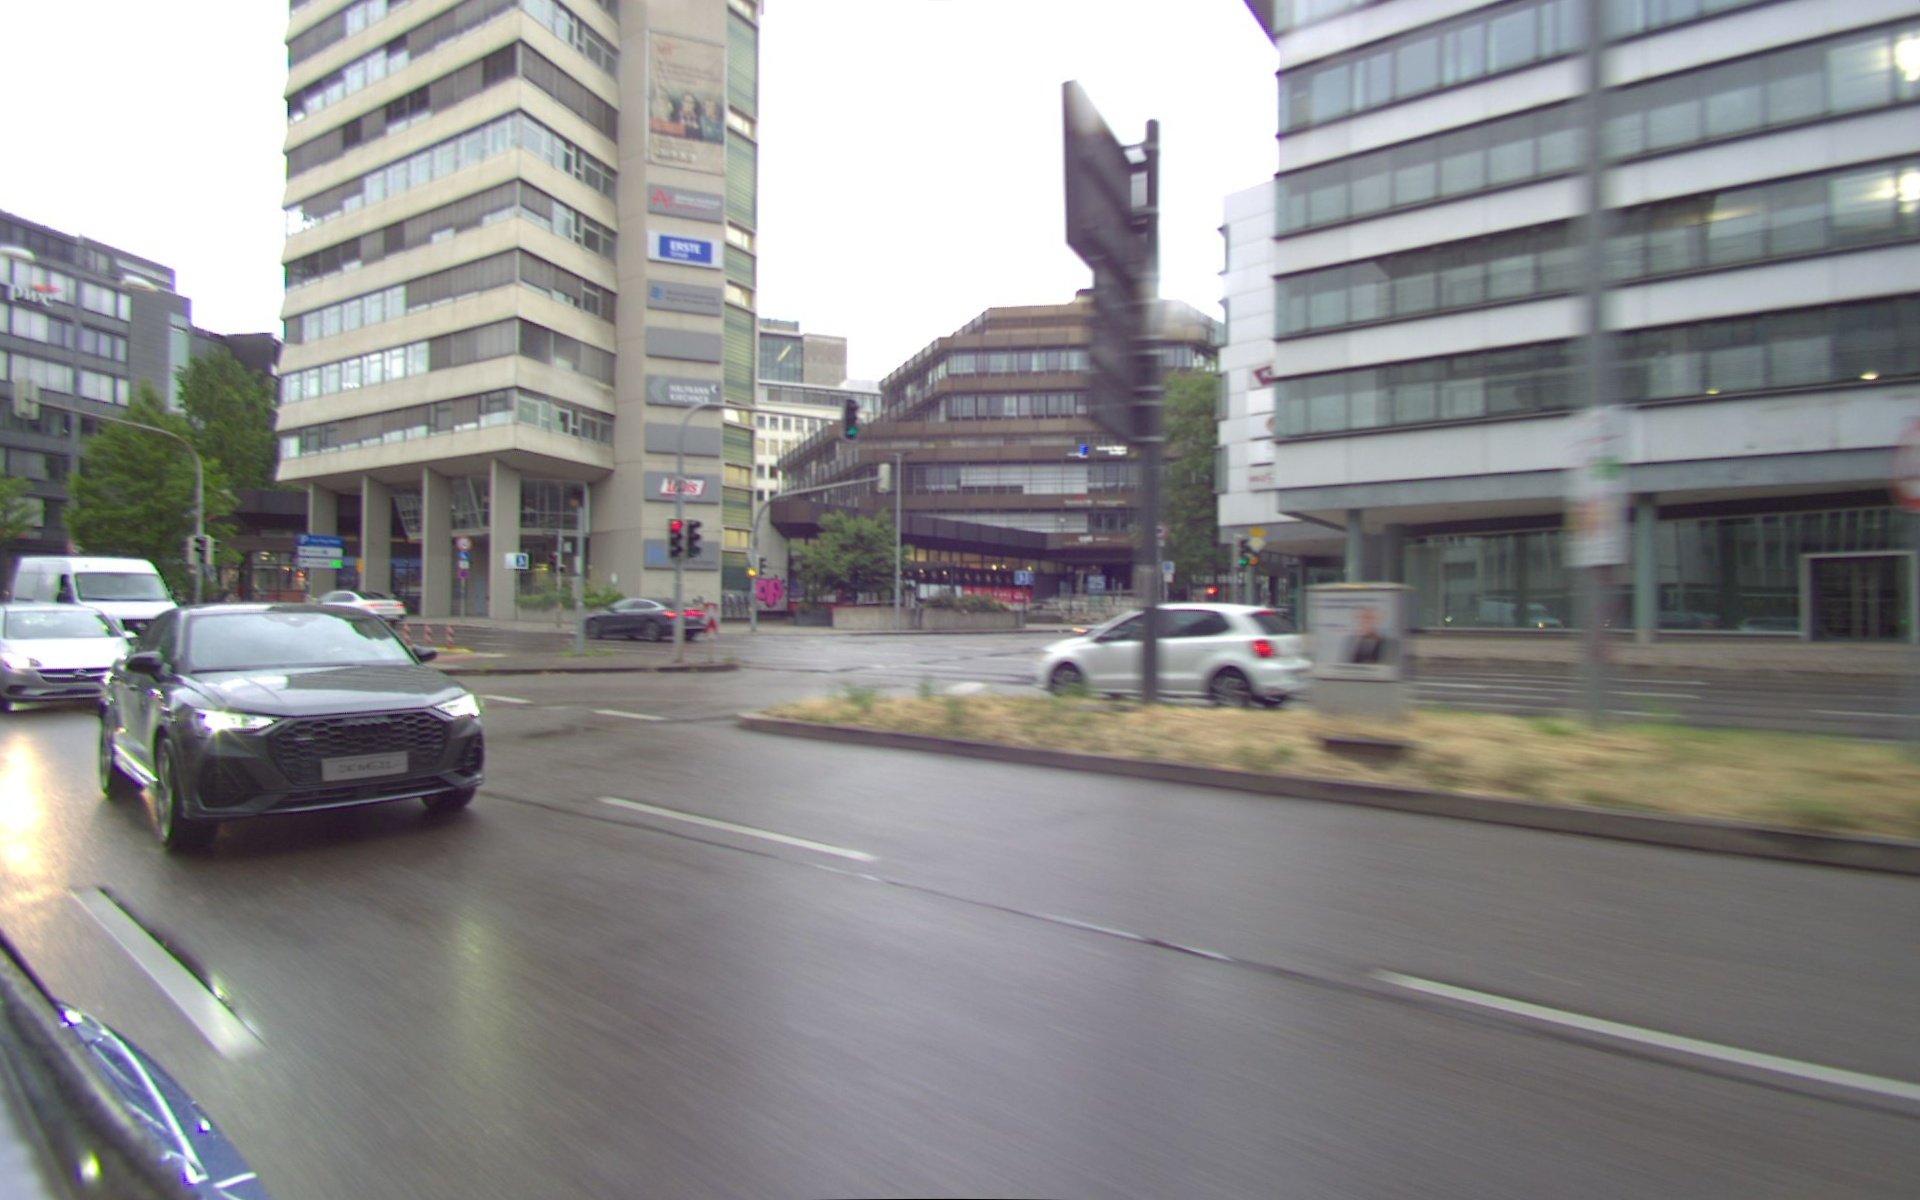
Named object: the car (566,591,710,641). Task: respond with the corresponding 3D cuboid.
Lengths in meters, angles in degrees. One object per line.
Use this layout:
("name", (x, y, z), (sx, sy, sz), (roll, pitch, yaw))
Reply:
("car", (-11.329, 0.506, 35.504), (5.153, 1.597, 1.978), (1, 1, 32))

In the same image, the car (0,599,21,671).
("car", (-21.120, 0.680, 20.736), (4.230, 1.412, 1.884), (1, 1, 34))

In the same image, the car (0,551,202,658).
("car", (-21.403, 0.052, 25.143), (5.700, 2.403, 2.237), (1, 1, 32))

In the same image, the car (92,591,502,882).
("car", (-5.254, 0.730, 7.737), (1.777, 1.563, 4.391), (0, 1, -45))

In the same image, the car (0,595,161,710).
("car", (-13.838, 0.686, 15.430), (4.123, 1.490, 1.752), (1, 1, 39))

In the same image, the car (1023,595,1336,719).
("car", (3.013, 0.691, 14.257), (3.966, 1.475, 1.735), (1, 1, 38))

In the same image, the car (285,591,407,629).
("car", (-26.182, 0.383, 43.133), (5.220, 1.529, 1.775), (1, 1, 24))
